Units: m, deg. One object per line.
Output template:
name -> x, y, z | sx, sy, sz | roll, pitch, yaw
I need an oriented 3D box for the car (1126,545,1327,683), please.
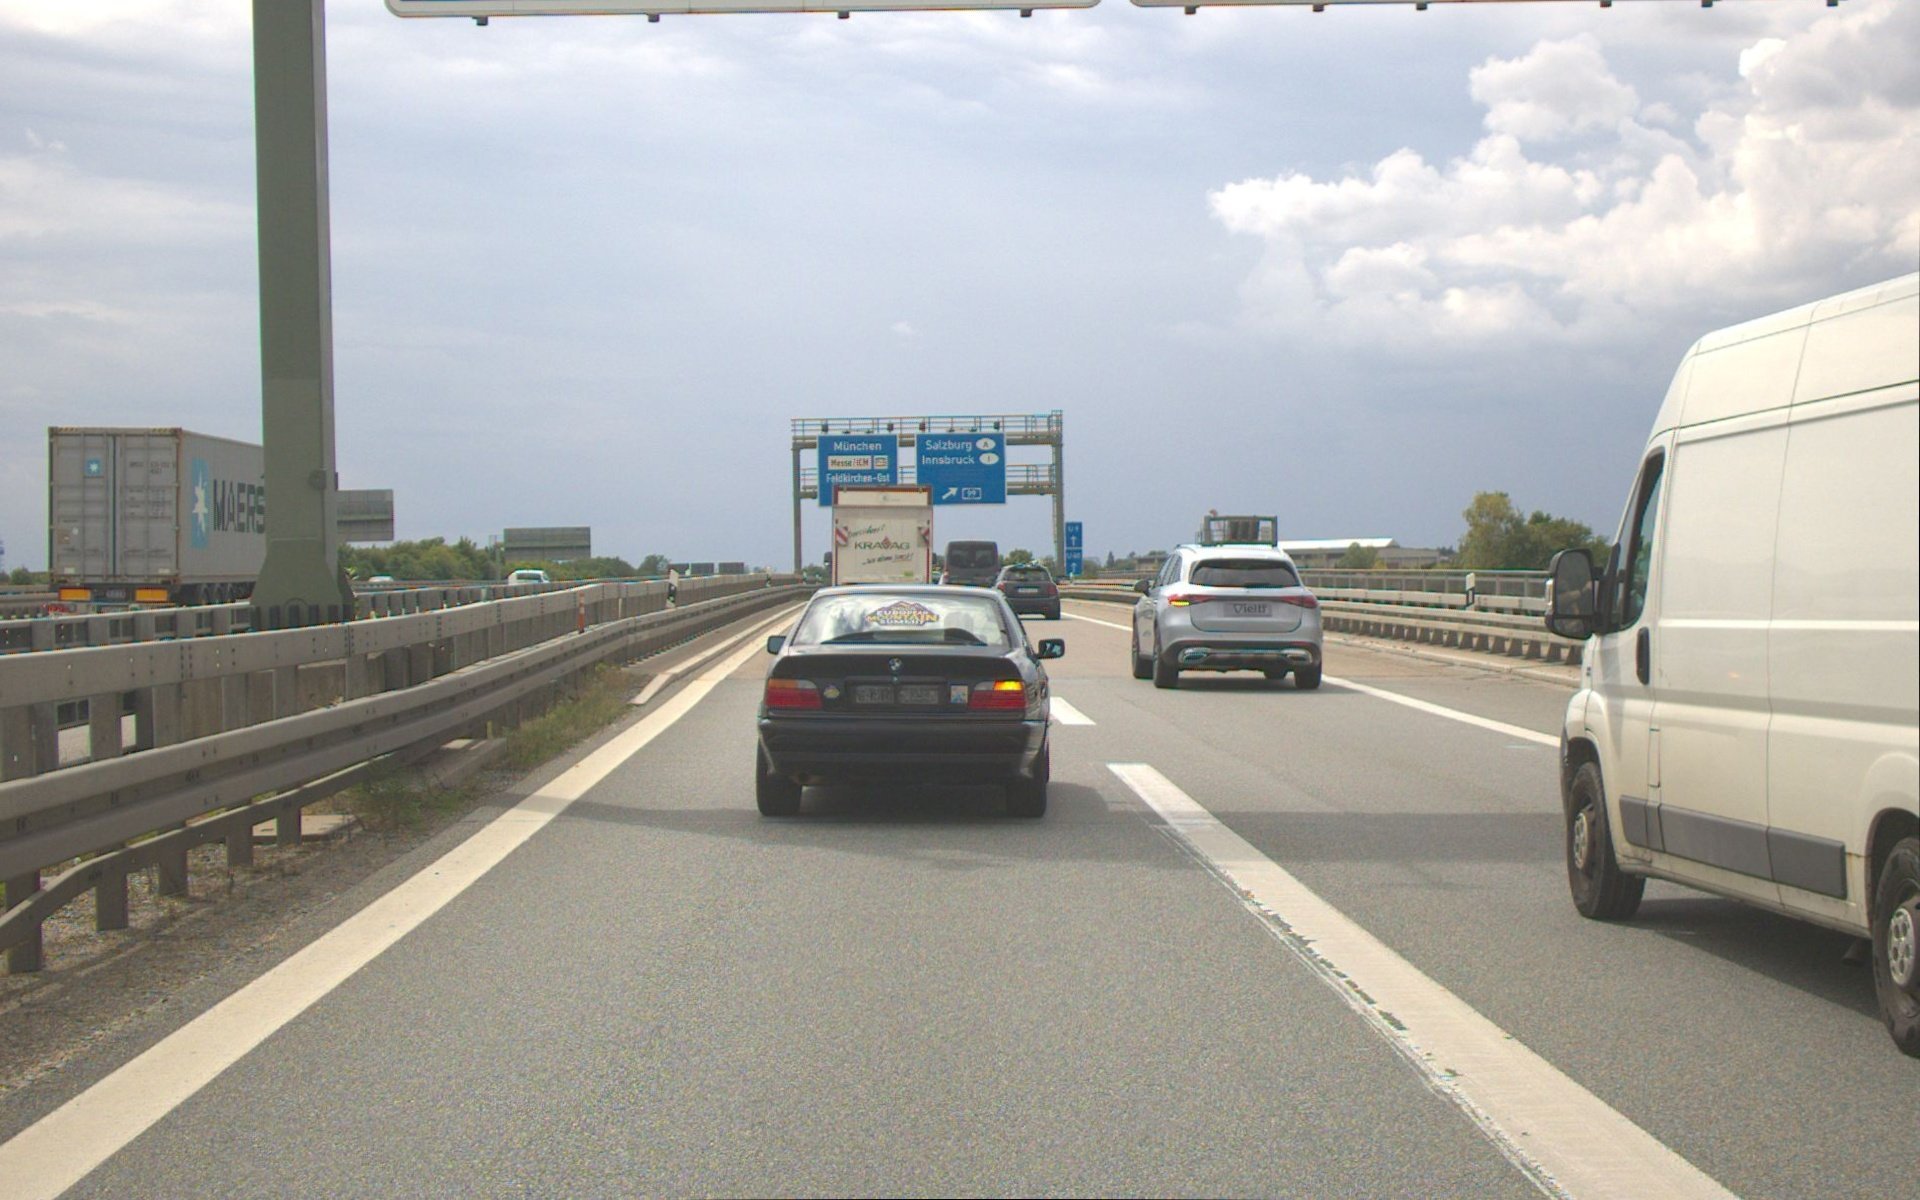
car -> 3.072, 0.130, 40.314 | 1.819, 1.509, 4.001 | 1, 1, -3

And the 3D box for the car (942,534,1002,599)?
car -> 0.417, -1.194, 121.646 | 1.906, 2.254, 4.649 | 1, 1, -2

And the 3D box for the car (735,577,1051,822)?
car -> -0.369, 0.529, 20.917 | 1.704, 1.277, 4.366 | 1, 1, 0

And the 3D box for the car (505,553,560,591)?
car -> -18.066, -1.201, 145.317 | 1.828, 1.557, 4.000 | 0, 1, 0

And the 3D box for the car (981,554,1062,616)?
car -> 1.564, -0.410, 88.943 | 1.884, 1.546, 4.000 | 1, 1, -2

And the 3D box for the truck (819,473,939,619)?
truck -> -1.873, -1.150, 78.876 | 2.569, 3.115, 8.634 | 1, 0, -2

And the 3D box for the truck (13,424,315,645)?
truck -> -16.103, -1.322, 71.084 | 3.183, 4.005, 16.077 | 1, 1, -3

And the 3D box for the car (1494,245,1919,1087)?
car -> 3.682, 0.165, 12.402 | 2.113, 2.445, 6.153 | 1, 1, -4
